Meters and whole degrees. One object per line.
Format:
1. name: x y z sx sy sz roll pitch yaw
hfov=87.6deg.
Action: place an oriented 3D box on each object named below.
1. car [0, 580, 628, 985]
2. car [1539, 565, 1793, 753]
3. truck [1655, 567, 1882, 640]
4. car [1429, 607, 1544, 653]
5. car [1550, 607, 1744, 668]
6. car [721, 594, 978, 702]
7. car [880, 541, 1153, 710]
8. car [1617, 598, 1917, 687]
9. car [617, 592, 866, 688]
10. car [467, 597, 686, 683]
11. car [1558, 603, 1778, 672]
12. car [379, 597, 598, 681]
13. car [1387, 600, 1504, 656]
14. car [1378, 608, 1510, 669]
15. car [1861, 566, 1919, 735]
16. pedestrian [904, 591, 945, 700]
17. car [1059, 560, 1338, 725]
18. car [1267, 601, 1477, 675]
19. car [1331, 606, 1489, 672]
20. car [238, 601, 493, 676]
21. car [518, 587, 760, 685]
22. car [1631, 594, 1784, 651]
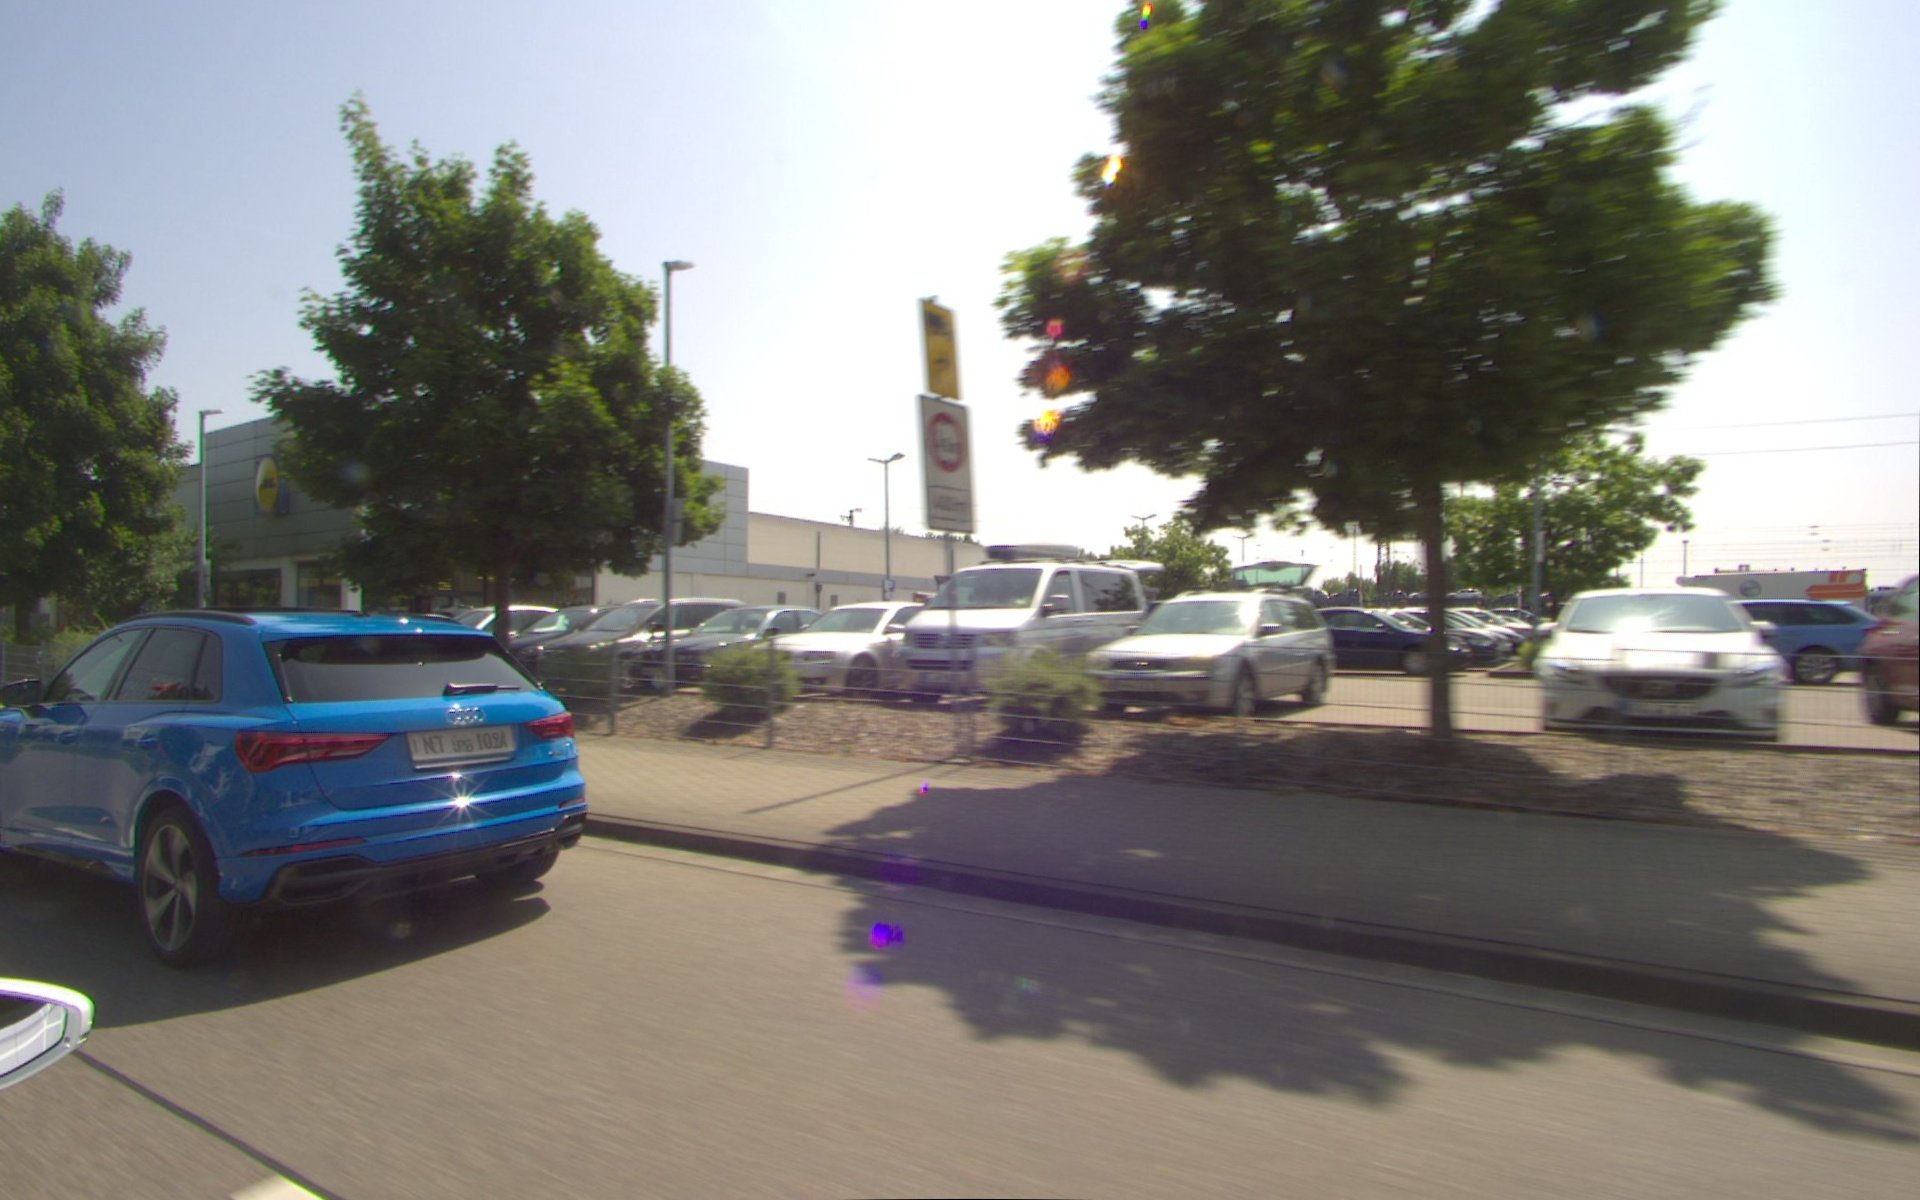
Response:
1. car: -4.135 0.767 5.890 4.285 1.613 1.806 0 -1 31
2. car: 6.716 0.505 9.802 1.673 1.440 3.989 0 -1 32
3. truck: 45.905 0.229 57.410 9.898 3.889 2.842 0 0 35
4. car: 20.699 1.158 39.410 3.807 1.706 1.775 0 -1 36
5. car: 17.279 0.910 25.420 3.942 1.439 1.725 0 0 31
6. car: -1.525 0.676 15.190 1.801 1.407 3.980 0 -1 33
7. car: 0.988 0.360 14.033 1.801 1.949 4.608 0 -1 32
8. car: 14.084 0.692 17.807 3.942 1.439 1.725 0 0 31
9. car: -3.518 0.638 16.768 1.801 1.407 3.980 0 -1 33
10. car: -7.630 0.804 20.313 1.798 1.553 3.986 -1 -2 27
11. car: 15.909 0.800 22.771 3.942 1.439 1.725 0 0 31
12. car: -10.006 0.831 21.561 1.799 1.616 3.985 0 -2 28
13. car: 15.392 0.859 31.766 3.243 1.694 1.323 0 0 31
14. car: 12.253 0.936 25.378 2.914 1.439 1.262 0 0 31
15. car: 9.492 0.457 8.613 1.696 1.556 3.589 0 -1 27
16. pedestrian: -0.515 0.651 14.570 0.441 1.545 0.414 0 1 36
17. car: 3.062 0.480 12.131 1.802 1.613 4.355 0 -1 35
18. car: 8.743 0.758 21.350 3.942 1.439 1.725 0 0 31
19. car: 10.374 0.852 23.122 3.205 1.439 1.262 0 0 32
20. car: -14.149 0.854 24.190 1.992 1.617 4.984 -1 0 30
21. car: -5.685 0.651 18.184 1.801 1.553 3.980 -1 -2 32
22. car: 23.706 0.697 31.913 3.807 1.706 1.775 0 -1 36
